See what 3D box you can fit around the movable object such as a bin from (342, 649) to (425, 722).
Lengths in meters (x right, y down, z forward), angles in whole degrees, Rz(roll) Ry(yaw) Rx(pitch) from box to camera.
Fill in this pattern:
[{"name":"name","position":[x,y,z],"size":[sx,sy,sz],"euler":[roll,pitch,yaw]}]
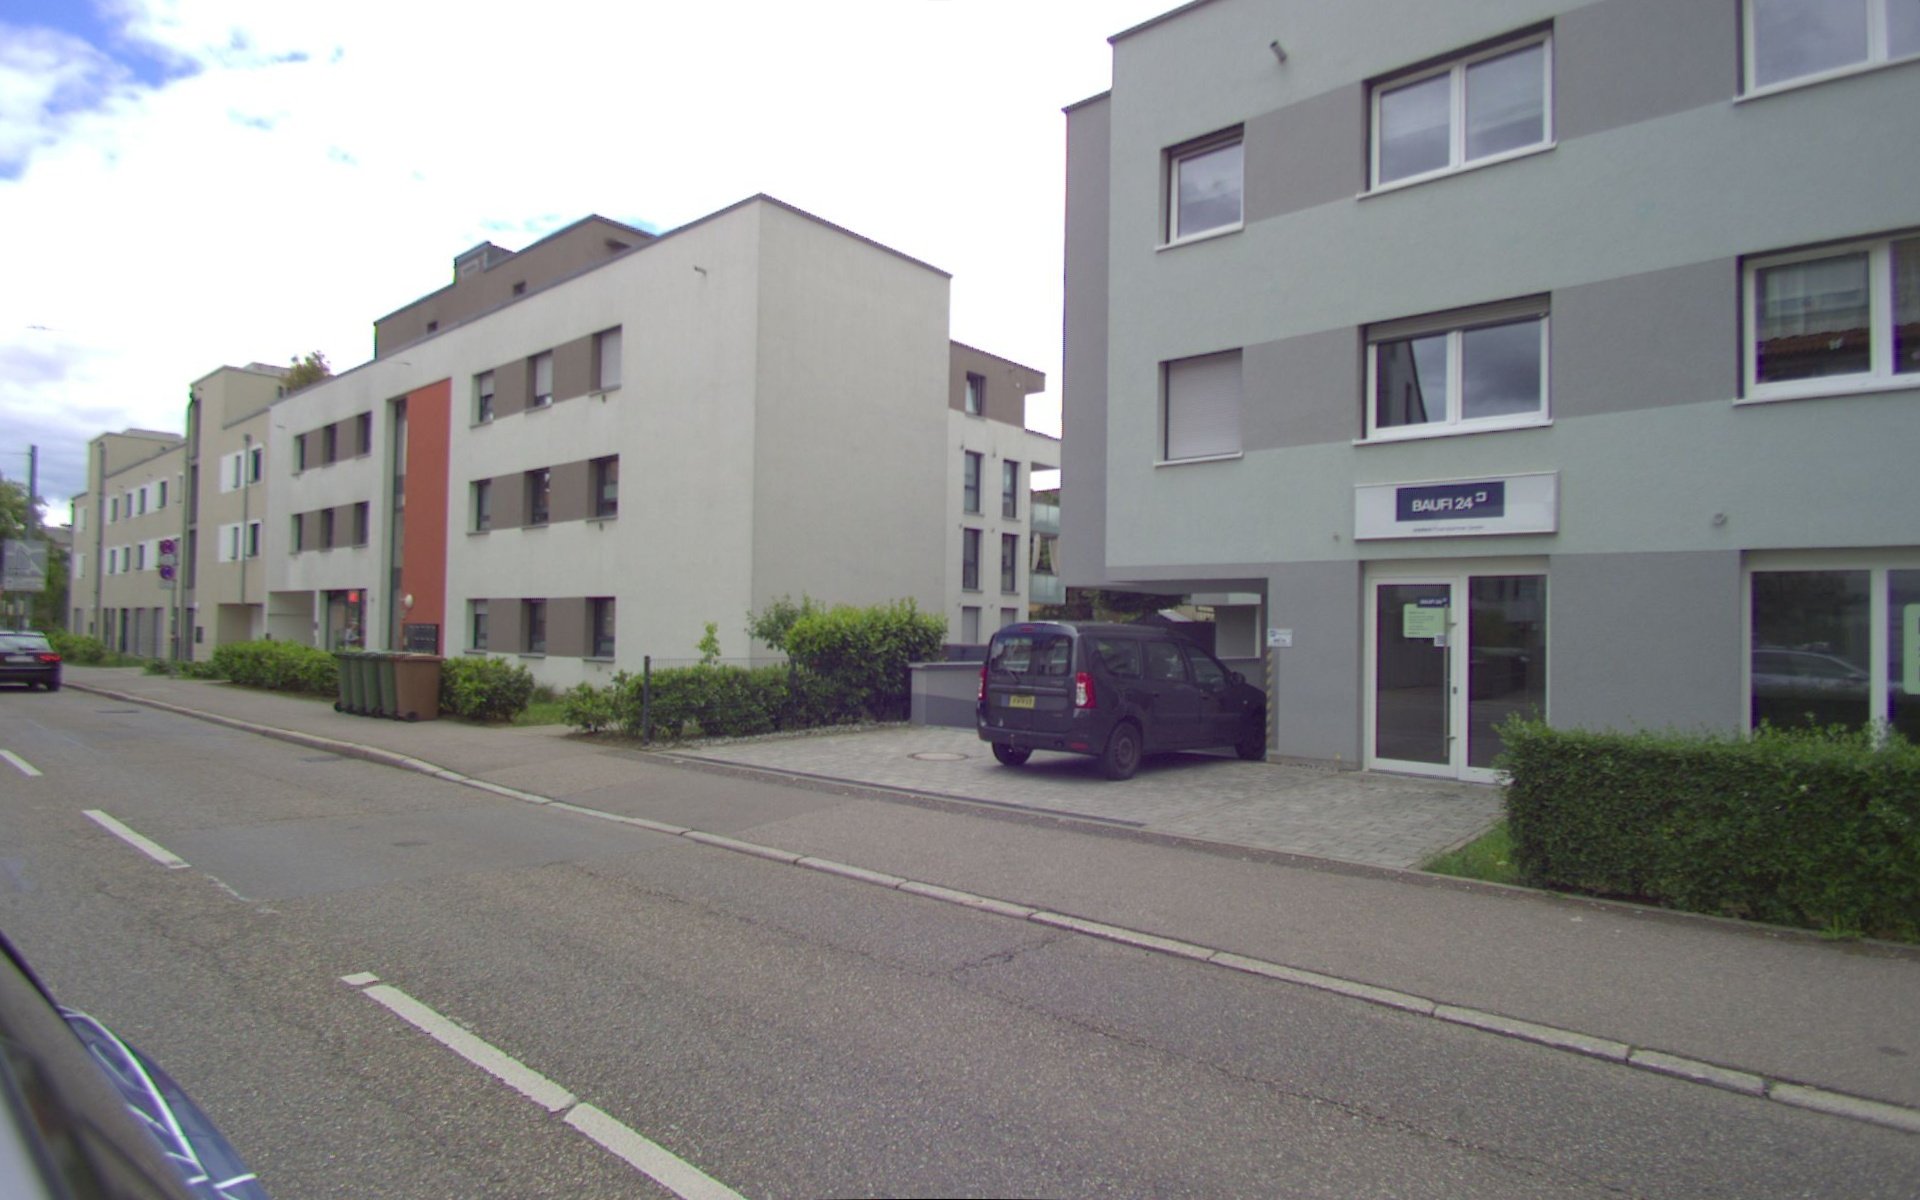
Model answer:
[{"name":"movable object such as a bin","position":[-9.656,1.408,16.962],"size":[0.839,1.160,0.947],"euler":[-1,-2,36]}]

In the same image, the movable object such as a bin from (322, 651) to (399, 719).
[{"name":"movable object such as a bin","position":[-10.345,1.449,17.474],"size":[0.791,1.097,0.886],"euler":[-1,-2,36]}]

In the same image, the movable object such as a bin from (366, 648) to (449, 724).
[{"name":"movable object such as a bin","position":[-8.967,1.375,16.439],"size":[0.748,1.160,0.940],"euler":[-1,-2,36]}]

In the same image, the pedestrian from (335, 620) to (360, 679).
[{"name":"pedestrian","position":[-17.329,1.401,28.630],"size":[0.511,1.655,0.642],"euler":[1,-2,-25]}]

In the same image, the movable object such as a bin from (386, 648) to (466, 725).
[{"name":"movable object such as a bin","position":[-8.422,1.342,15.990],"size":[0.611,1.160,0.932],"euler":[-1,-2,36]}]

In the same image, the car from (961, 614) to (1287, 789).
[{"name":"car","position":[2.057,1.046,11.822],"size":[1.725,1.680,4.116],"euler":[-1,-2,44]}]

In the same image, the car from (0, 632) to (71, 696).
[{"name":"car","position":[-23.263,1.512,24.586],"size":[4.211,1.462,1.859],"euler":[-1,-5,41]}]
